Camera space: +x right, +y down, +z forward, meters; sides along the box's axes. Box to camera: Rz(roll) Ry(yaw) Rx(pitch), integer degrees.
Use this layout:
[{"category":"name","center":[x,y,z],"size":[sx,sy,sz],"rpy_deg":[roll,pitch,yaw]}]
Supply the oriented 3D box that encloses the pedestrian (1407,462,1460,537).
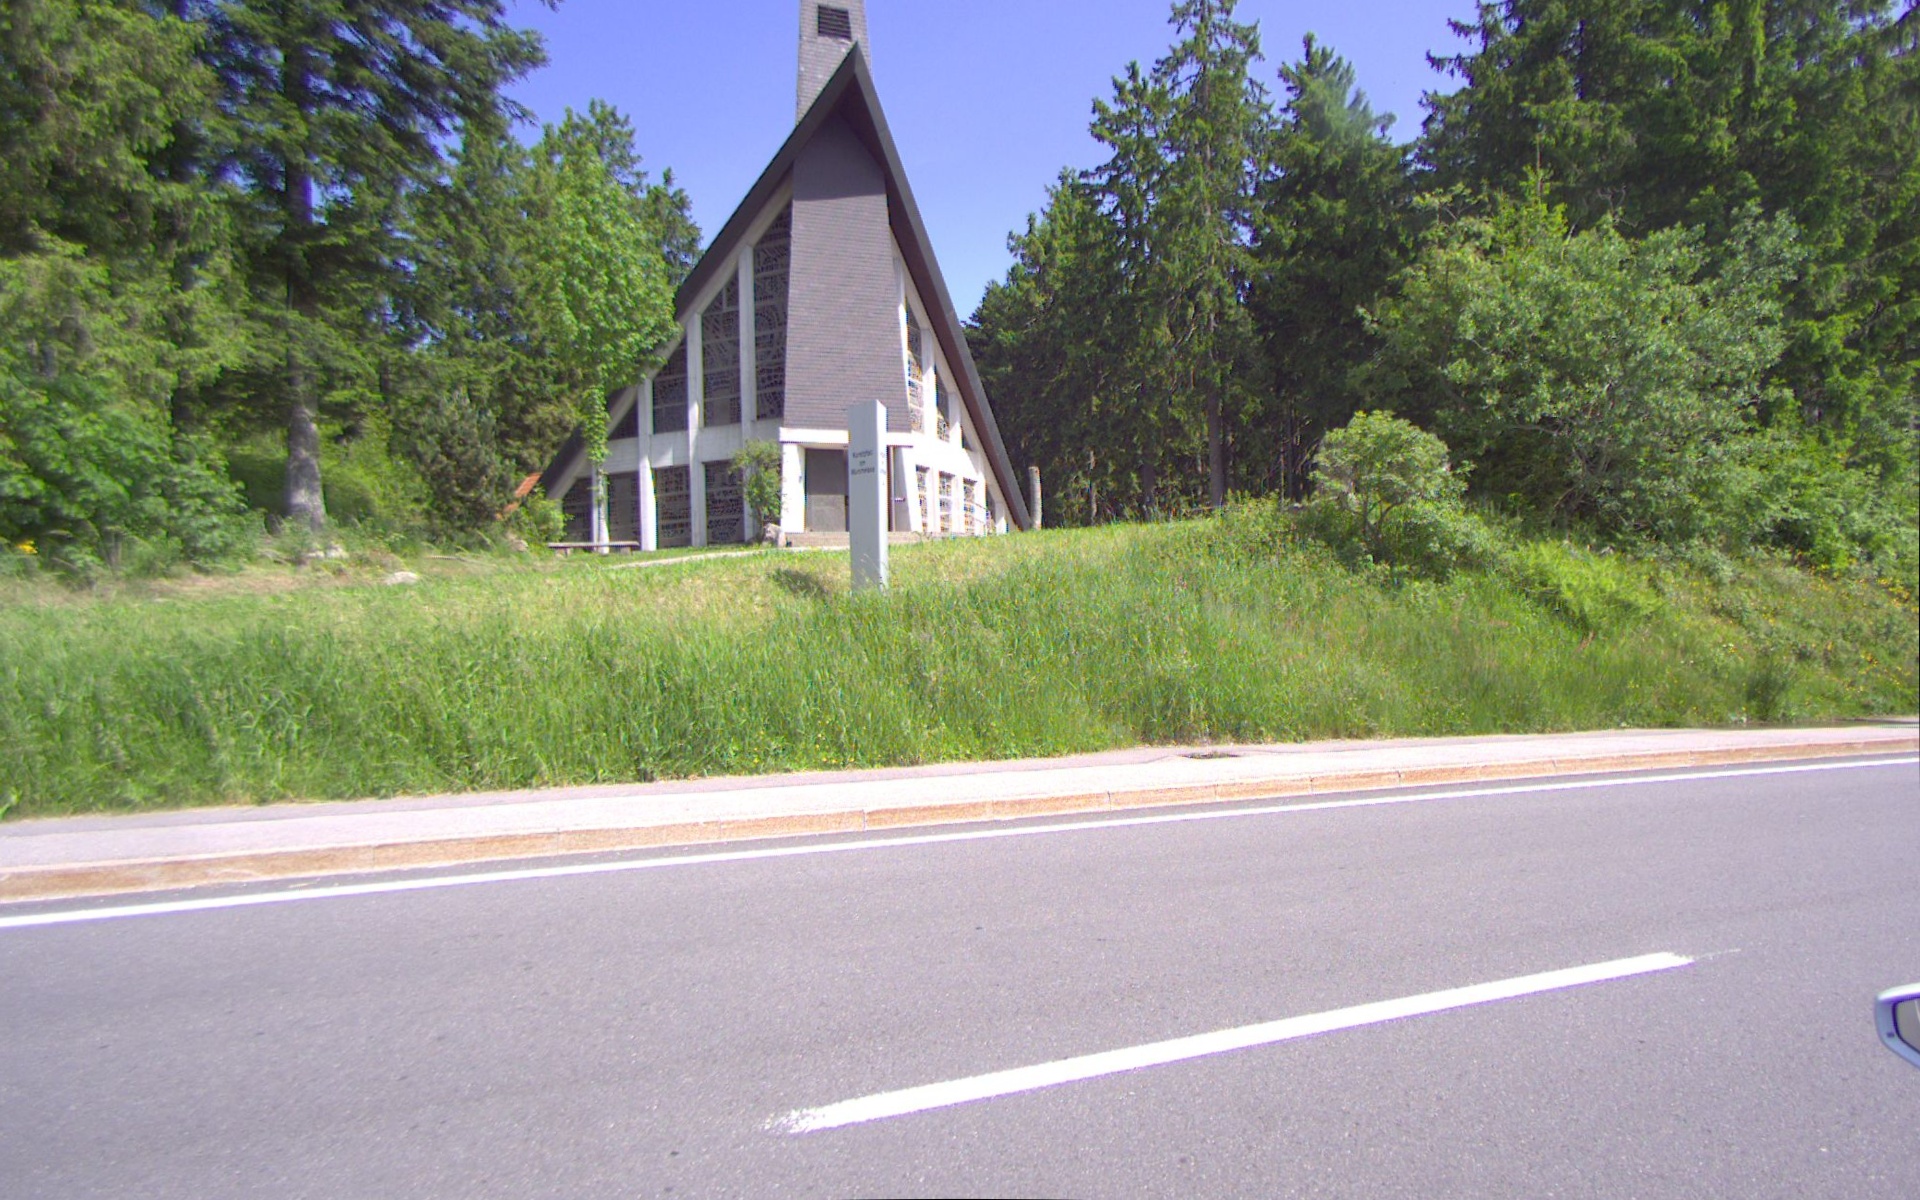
[{"category":"pedestrian","center":[11.053,-2.324,23.467],"size":[0.732,1.651,0.806],"rpy_deg":[1,0,-26]}]
